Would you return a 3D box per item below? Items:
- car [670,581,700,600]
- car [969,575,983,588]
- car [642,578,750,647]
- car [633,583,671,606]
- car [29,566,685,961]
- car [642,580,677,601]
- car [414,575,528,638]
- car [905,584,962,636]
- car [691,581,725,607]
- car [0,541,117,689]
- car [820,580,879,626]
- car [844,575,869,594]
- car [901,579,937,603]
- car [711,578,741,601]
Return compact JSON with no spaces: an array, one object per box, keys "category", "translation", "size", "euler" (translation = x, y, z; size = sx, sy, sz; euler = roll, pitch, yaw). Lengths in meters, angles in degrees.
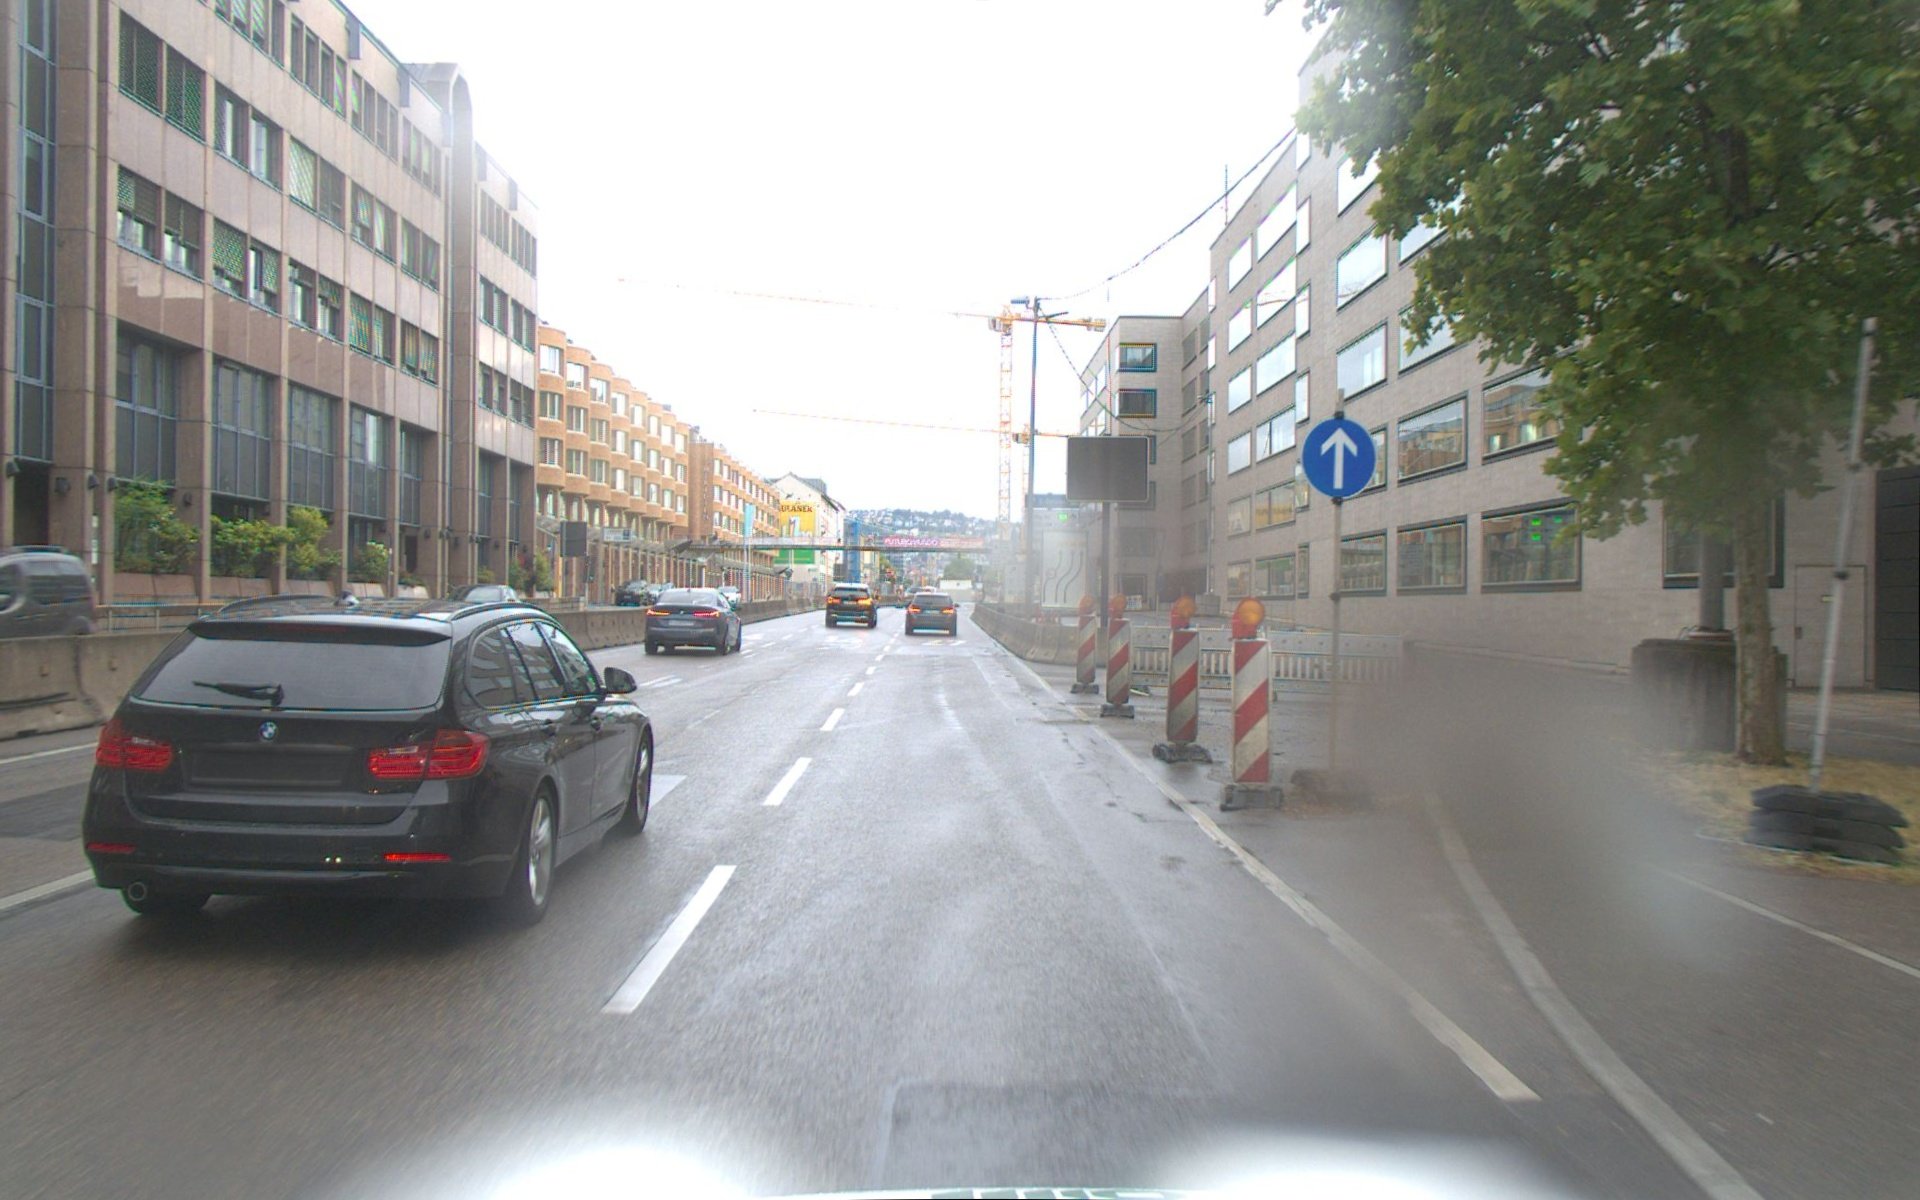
[{"category":"car","translation":[-24.184,-0.800,145.756],"size":[1.953,1.648,4.317],"euler":[0,0,-1]},{"category":"car","translation":[2.200,-2.551,225.150],"size":[1.860,1.723,4.001],"euler":[0,0,2]},{"category":"car","translation":[-5.846,0.259,37.079],"size":[1.754,1.451,4.384],"euler":[0,0,-1]},{"category":"car","translation":[-22.676,-0.380,121.931],"size":[1.953,1.648,4.762],"euler":[0,0,-1]},{"category":"car","translation":[-2.648,0.612,8.532],"size":[1.755,1.451,4.612],"euler":[1,0,-1]},{"category":"car","translation":[-23.397,-0.744,129.016],"size":[1.953,1.648,4.317],"euler":[0,0,-1]},{"category":"car","translation":[-12.663,0.150,43.090],"size":[1.823,1.560,4.229],"euler":[0,0,-2]},{"category":"car","translation":[-0.878,0.326,57.609],"size":[1.861,1.723,4.000],"euler":[0,0,1]},{"category":"car","translation":[-15.433,-0.366,101.435],"size":[1.570,1.467,3.657],"euler":[0,2,-1]},{"category":"car","translation":[-12.484,0.178,20.670],"size":[1.686,1.801,4.424],"euler":[0,0,-1]},{"category":"car","translation":[-4.241,0.109,63.940],"size":[1.860,1.723,4.001],"euler":[0,0,2]},{"category":"car","translation":[-9.134,-1.365,145.953],"size":[1.953,1.648,4.762],"euler":[0,0,0]},{"category":"car","translation":[-3.054,-0.681,123.556],"size":[1.859,1.723,4.003],"euler":[0,0,11]},{"category":"car","translation":[-17.428,-0.806,123.480],"size":[1.783,1.647,4.190],"euler":[0,2,-2]}]
